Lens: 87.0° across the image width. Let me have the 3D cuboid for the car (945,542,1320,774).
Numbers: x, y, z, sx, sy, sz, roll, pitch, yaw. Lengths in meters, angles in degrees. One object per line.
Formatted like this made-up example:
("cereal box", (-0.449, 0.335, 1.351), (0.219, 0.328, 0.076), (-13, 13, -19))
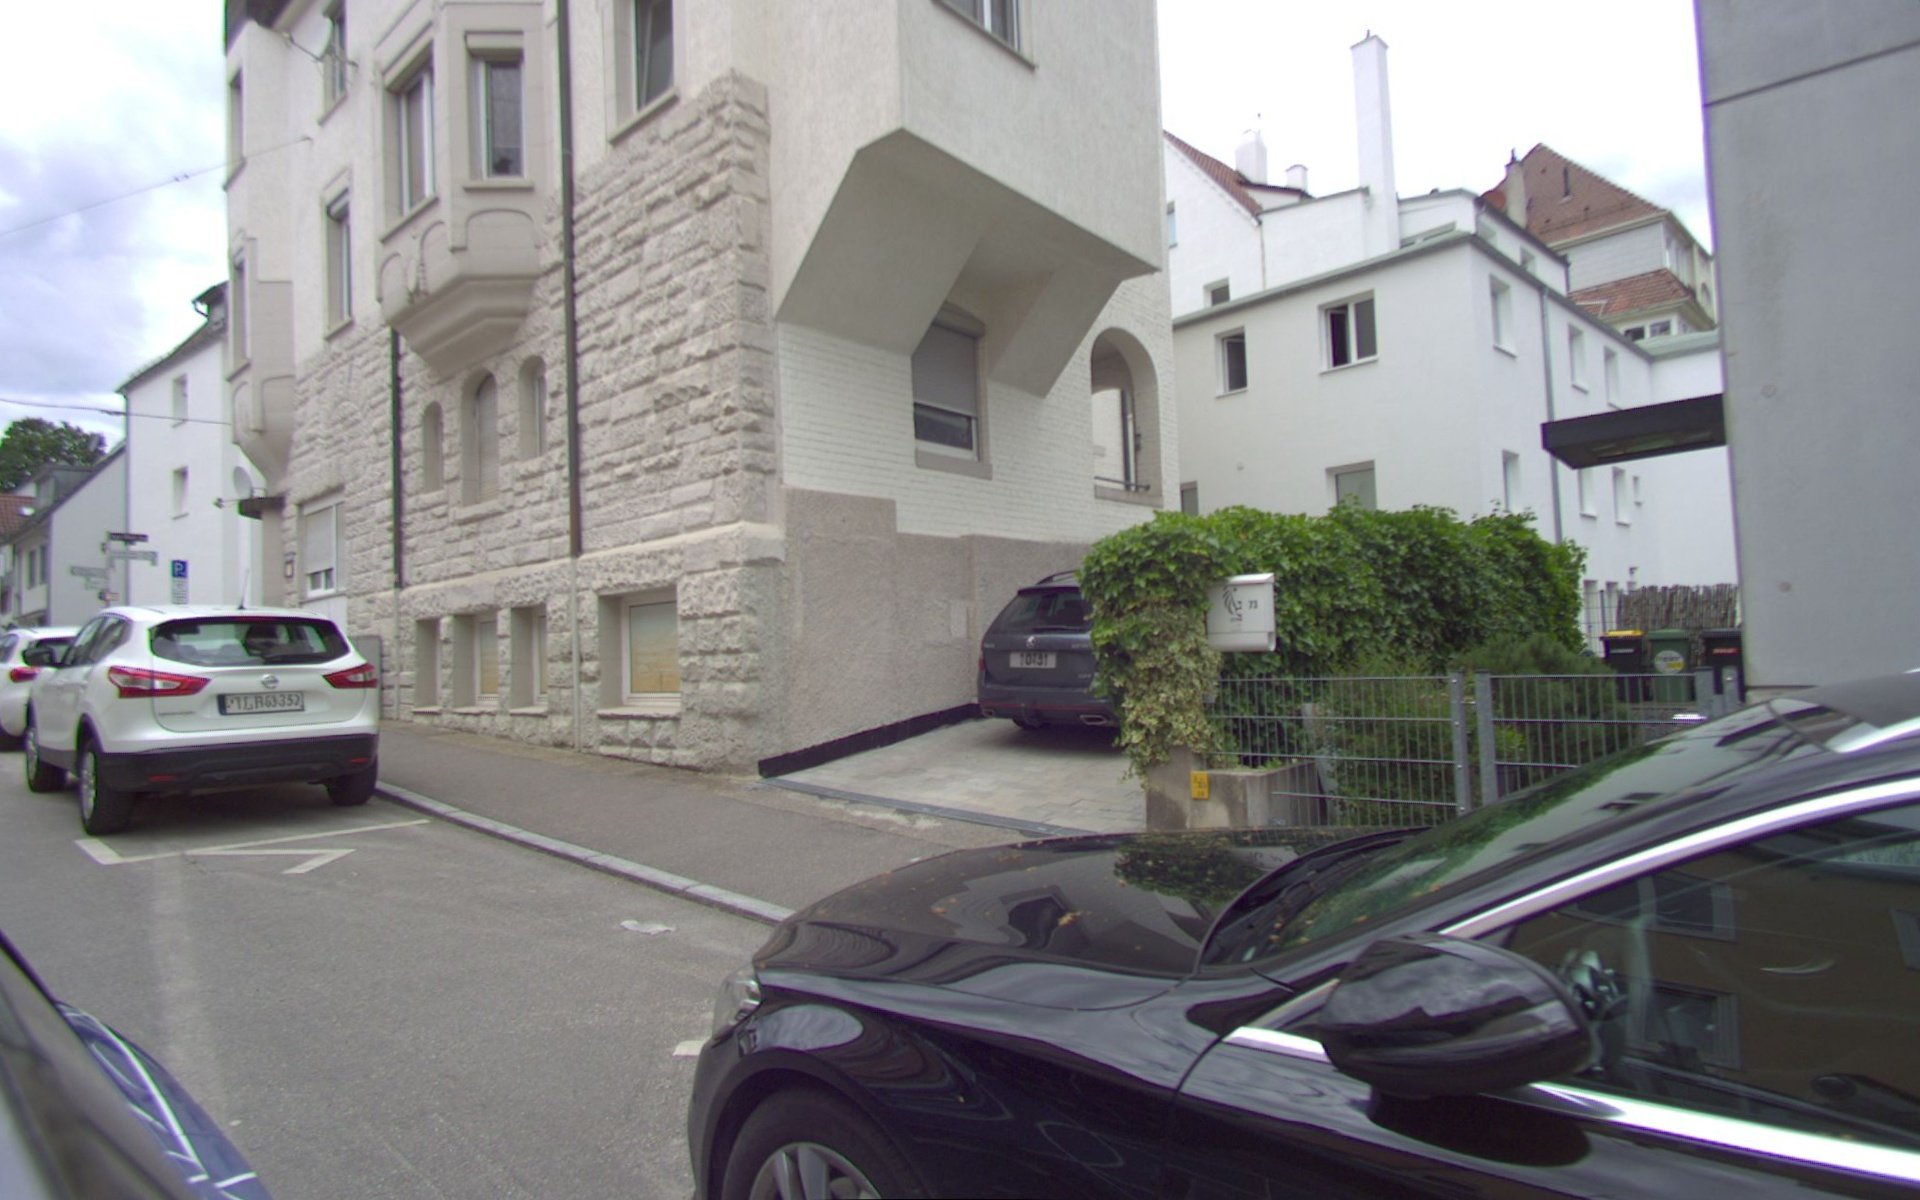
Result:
("car", (1.758, 0.379, 9.463), (1.658, 1.514, 3.625), (-1, 5, 43))

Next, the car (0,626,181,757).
("car", (-11.622, 1.086, 12.960), (4.236, 1.425, 1.682), (-3, -3, 39))

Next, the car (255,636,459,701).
("car", (-15.575, 1.745, 26.281), (1.827, 1.402, 4.235), (-7, -5, 45))

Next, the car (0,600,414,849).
("car", (-6.337, 0.850, 8.278), (4.236, 1.527, 1.826), (-3, -3, 39))

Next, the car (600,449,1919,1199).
("car", (1.623, 0.666, 1.249), (4.466, 1.539, 1.877), (-1, -2, 39))
